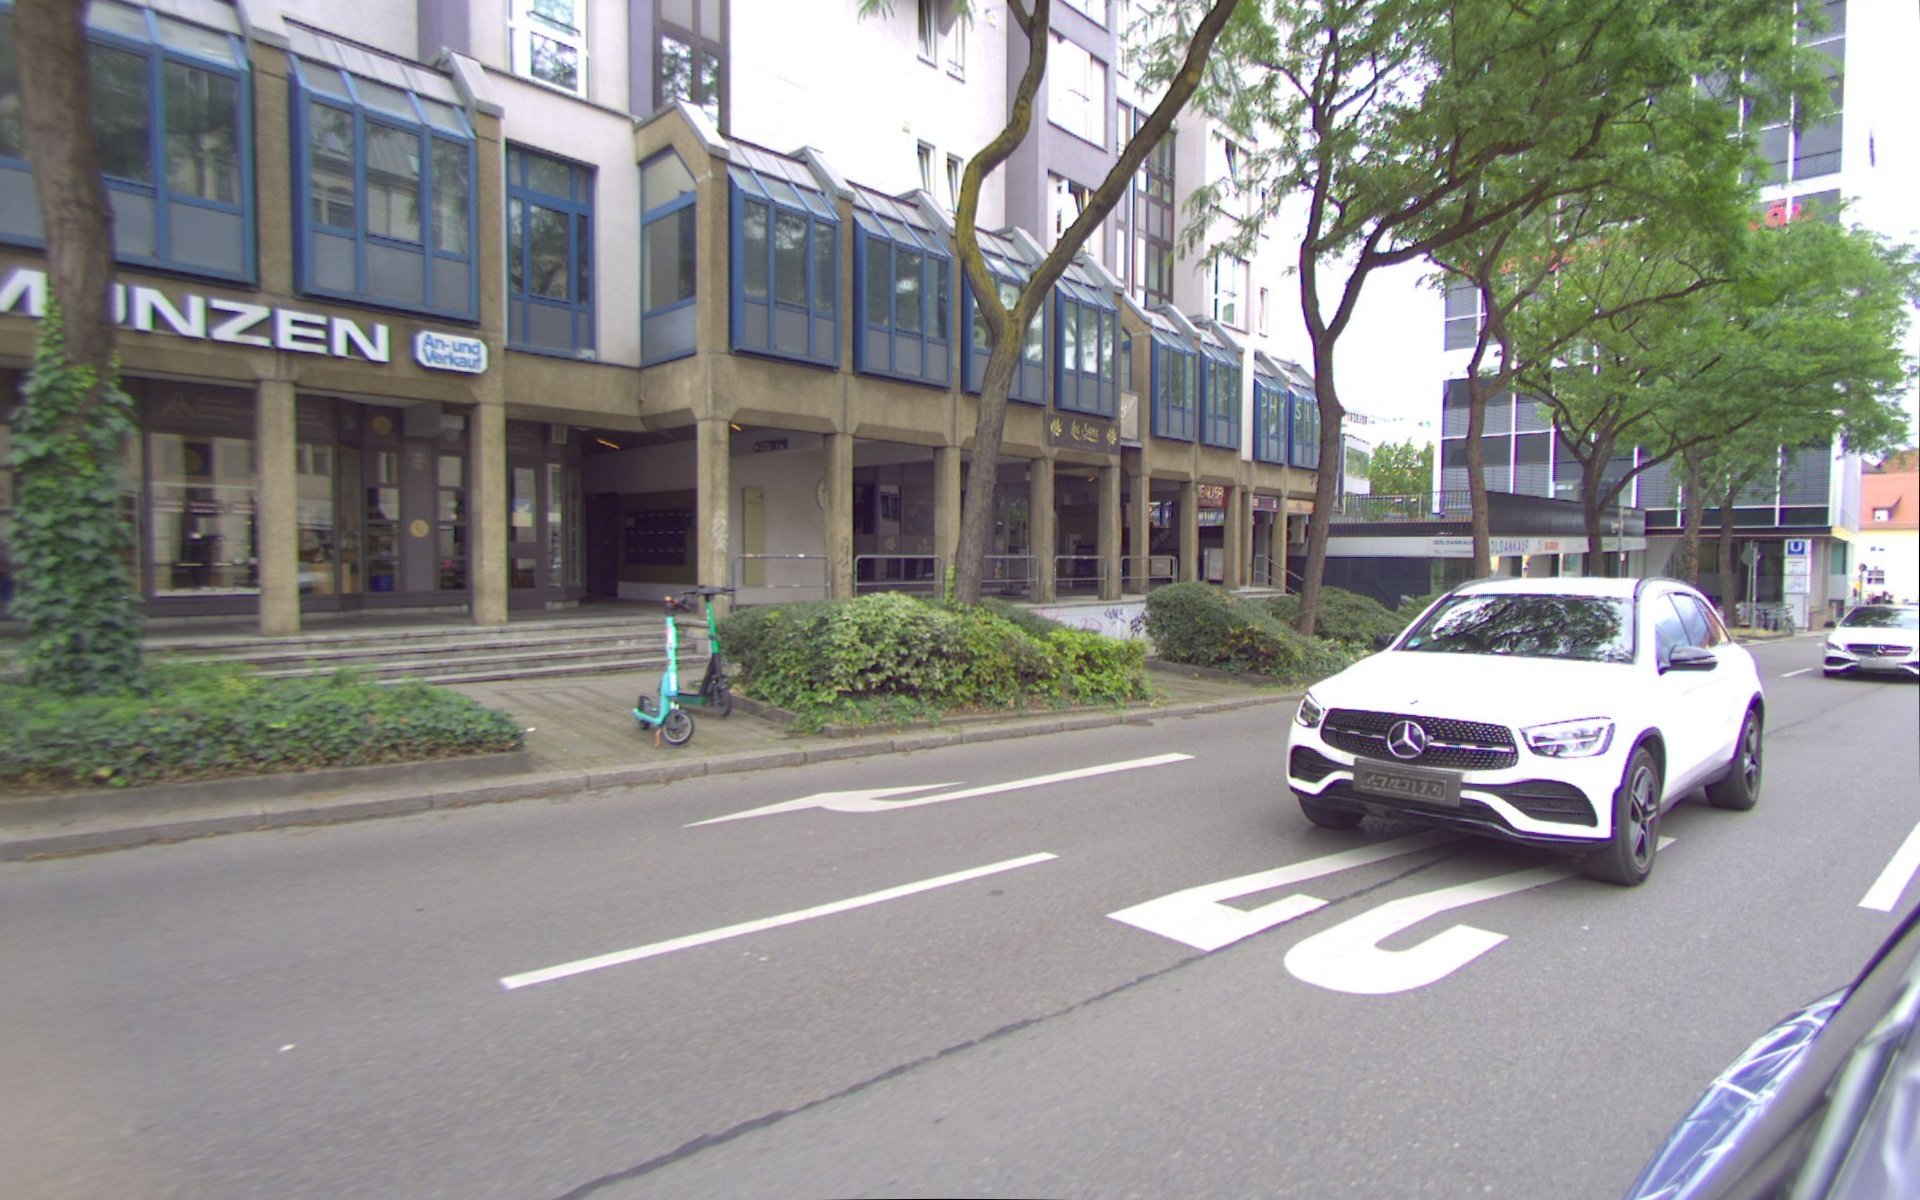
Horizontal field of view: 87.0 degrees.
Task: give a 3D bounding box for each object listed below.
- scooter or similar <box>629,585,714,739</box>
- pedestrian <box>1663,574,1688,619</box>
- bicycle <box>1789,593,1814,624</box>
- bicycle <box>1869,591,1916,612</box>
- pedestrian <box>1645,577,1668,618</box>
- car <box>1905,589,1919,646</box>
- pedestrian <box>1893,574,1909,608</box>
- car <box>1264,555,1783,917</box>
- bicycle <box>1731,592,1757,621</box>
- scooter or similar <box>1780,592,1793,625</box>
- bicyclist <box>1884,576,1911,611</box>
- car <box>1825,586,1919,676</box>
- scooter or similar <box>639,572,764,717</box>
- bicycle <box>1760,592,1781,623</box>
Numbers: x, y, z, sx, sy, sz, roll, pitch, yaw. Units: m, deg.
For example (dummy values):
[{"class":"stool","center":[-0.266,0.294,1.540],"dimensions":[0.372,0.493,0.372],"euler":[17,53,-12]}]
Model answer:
[{"class":"scooter or similar","center":[-2.531,0.503,8.812],"dimensions":[0.419,1.196,1.112],"euler":[1,3,-30]},{"class":"pedestrian","center":[28.957,-0.144,40.955],"dimensions":[0.595,1.775,0.926],"euler":[4,3,43]},{"class":"bicycle","center":[32.880,0.327,39.539],"dimensions":[1.812,1.146,0.490],"euler":[-1,2,-42]},{"class":"bicycle","center":[52.453,0.070,56.939],"dimensions":[0.666,1.019,1.772],"euler":[3,3,-16]},{"class":"pedestrian","center":[28.532,-0.108,41.441],"dimensions":[0.596,1.648,0.745],"euler":[4,3,43]},{"class":"car","center":[28.353,0.512,28.827],"dimensions":[3.698,1.551,1.706],"euler":[0,3,-41]},{"class":"pedestrian","center":[50.033,-0.500,53.786],"dimensions":[0.525,1.732,0.741],"euler":[5,5,43]},{"class":"car","center":[3.966,0.572,6.770],"dimensions":[4.261,1.667,1.804],"euler":[-1,2,-43]},{"class":"bicycle","center":[31.866,0.241,41.133],"dimensions":[1.659,1.146,0.490],"euler":[0,2,-41]},{"class":"scooter or similar","center":[32.851,0.343,40.216],"dimensions":[0.305,1.267,0.984],"euler":[2,2,36]},{"class":"bicyclist","center":[52.539,-0.367,56.723],"dimensions":[0.661,1.868,0.816],"euler":[1,3,-15]},{"class":"car","center":[18.727,0.535,20.003],"dimensions":[4.572,1.588,1.869],"euler":[-1,2,-42]},{"class":"scooter or similar","center":[-2.573,0.403,10.013],"dimensions":[0.712,1.284,1.198],"euler":[0,3,-41]},{"class":"bicycle","center":[32.313,0.287,40.339],"dimensions":[0.489,1.146,1.858],"euler":[3,2,43]}]
